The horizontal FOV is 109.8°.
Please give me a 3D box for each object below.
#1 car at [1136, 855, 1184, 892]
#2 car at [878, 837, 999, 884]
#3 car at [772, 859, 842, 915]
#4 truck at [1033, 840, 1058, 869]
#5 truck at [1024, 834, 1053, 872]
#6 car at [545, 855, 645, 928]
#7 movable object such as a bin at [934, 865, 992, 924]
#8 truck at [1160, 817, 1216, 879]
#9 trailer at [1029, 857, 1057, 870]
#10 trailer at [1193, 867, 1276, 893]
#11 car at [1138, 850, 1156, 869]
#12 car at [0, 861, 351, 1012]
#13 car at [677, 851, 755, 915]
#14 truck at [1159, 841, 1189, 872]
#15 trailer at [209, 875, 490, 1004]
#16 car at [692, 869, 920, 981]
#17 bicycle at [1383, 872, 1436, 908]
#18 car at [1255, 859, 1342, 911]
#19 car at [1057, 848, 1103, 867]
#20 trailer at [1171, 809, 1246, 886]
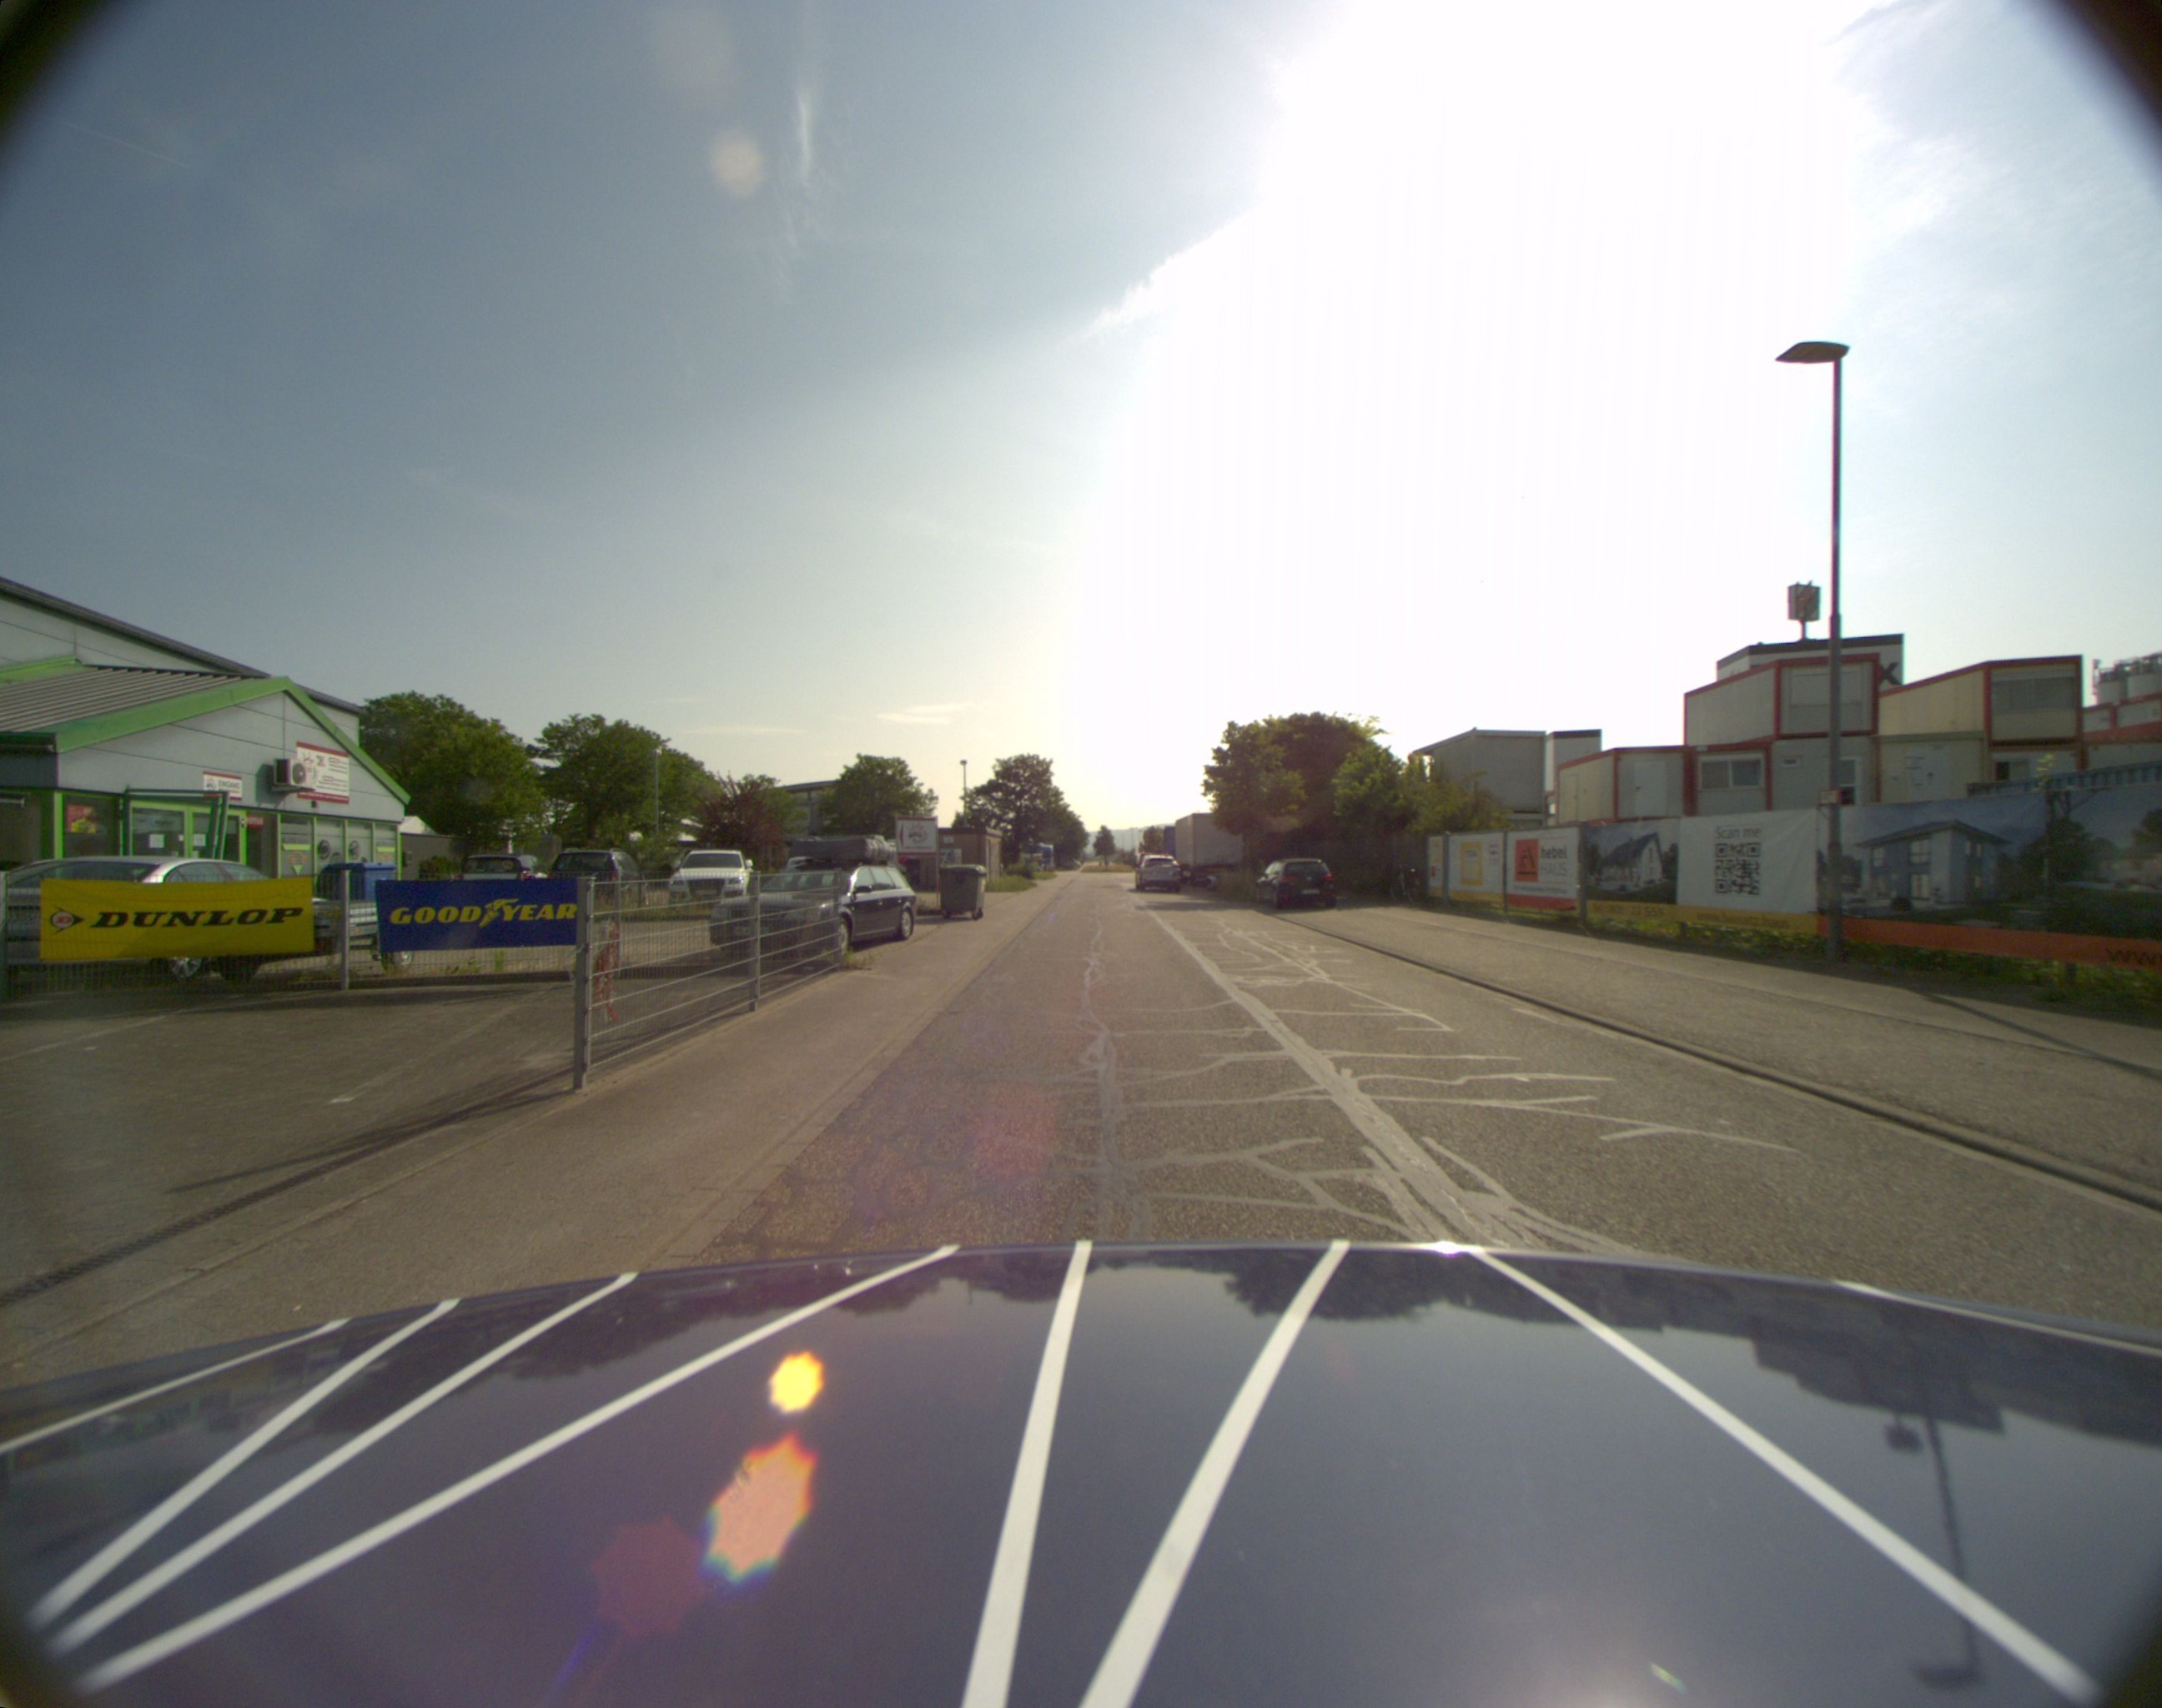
[{"bbox_3d":[3.622,0.863,35.341,1.816,1.617,4.249,0,0,0],"label":"car"},{"bbox_3d":[-8.495,0.349,45.310,6.751,2.524,2.277,-2,0,-19],"label":"car"},{"bbox_3d":[-8.043,0.876,22.091,1.695,1.457,4.254,0,0,-23],"label":"car"},{"bbox_3d":[-5.006,0.130,108.754,3.043,3.916,10.578,0,0,0],"label":"truck"},{"bbox_3d":[-4.750,-0.120,86.479,2.559,3.958,8.581,2,0,1],"label":"truck"},{"bbox_3d":[-12.400,0.873,19.568,1.646,1.710,3.207,0,0,-23],"label":"car"},{"bbox_3d":[-2.925,0.986,19.060,1.083,1.345,1.506,2,0,4],"label":"movable object such as a bin"},{"bbox_3d":[7.295,-0.373,53.224,2.719,3.861,9.636,-2,0,1],"label":"truck"},{"bbox_3d":[-4.609,1.124,94.329,2.553,1.383,14.136,1,0,1],"label":"trailer"},{"bbox_3d":[7.013,1.159,35.502,2.655,0.979,6.243,0,0,0],"label":"trailer"},{"bbox_3d":[9.027,0.709,103.993,1.998,2.532,6.990,1,0,1],"label":"car"},{"bbox_3d":[-11.426,0.843,9.624,1.646,1.457,4.452,0,0,-23],"label":"car"},{"bbox_3d":[-9.859,0.706,20.748,1.723,1.563,4.125,0,0,-23],"label":"car"},{"bbox_3d":[12.074,0.375,99.504,2.783,3.831,10.064,1,0,1],"label":"truck"},{"bbox_3d":[-8.859,0.929,9.521,1.496,1.241,2.972,-2,0,-22],"label":"trailer"},{"bbox_3d":[-4.073,0.969,12.144,1.677,1.360,4.395,0,0,6],"label":"car"},{"bbox_3d":[9.927,1.066,23.039,0.563,0.967,2.452,0,0,0],"label":"bicycle"},{"bbox_3d":[6.623,0.896,23.603,1.691,1.461,4.094,0,0,2],"label":"car"},{"bbox_3d":[-0.210,0.700,137.751,8.151,3.217,2.663,-2,0,-4],"label":"car"},{"bbox_3d":[7.061,-0.345,43.498,2.706,3.861,9.765,-2,0,1],"label":"trailer"}]
